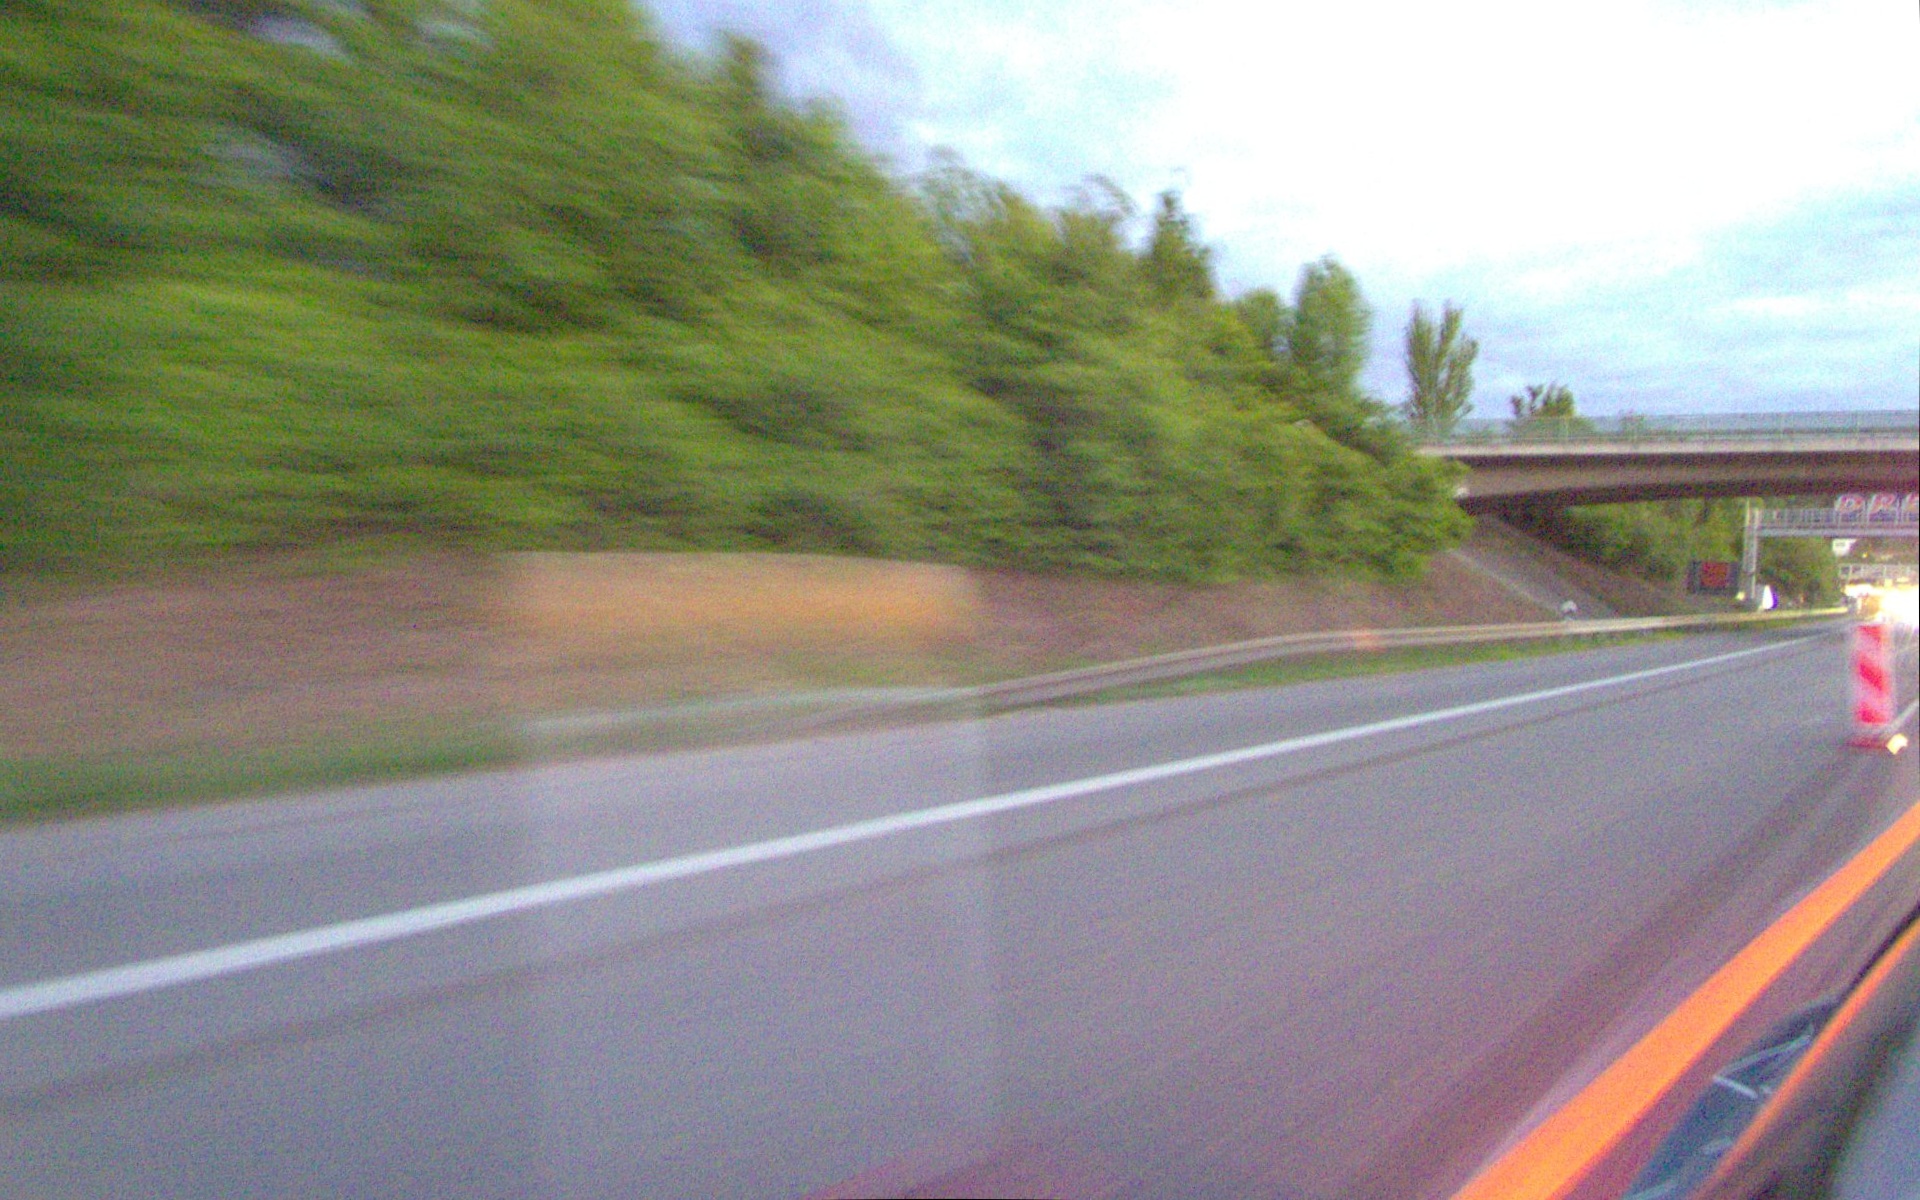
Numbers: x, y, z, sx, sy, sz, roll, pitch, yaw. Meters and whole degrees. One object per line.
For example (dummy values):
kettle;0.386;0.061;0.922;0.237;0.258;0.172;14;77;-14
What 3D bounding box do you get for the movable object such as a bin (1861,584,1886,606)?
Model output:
movable object such as a bin;135.142;-0.695;149.760;2.619;3.146;5.719;2;2;41
